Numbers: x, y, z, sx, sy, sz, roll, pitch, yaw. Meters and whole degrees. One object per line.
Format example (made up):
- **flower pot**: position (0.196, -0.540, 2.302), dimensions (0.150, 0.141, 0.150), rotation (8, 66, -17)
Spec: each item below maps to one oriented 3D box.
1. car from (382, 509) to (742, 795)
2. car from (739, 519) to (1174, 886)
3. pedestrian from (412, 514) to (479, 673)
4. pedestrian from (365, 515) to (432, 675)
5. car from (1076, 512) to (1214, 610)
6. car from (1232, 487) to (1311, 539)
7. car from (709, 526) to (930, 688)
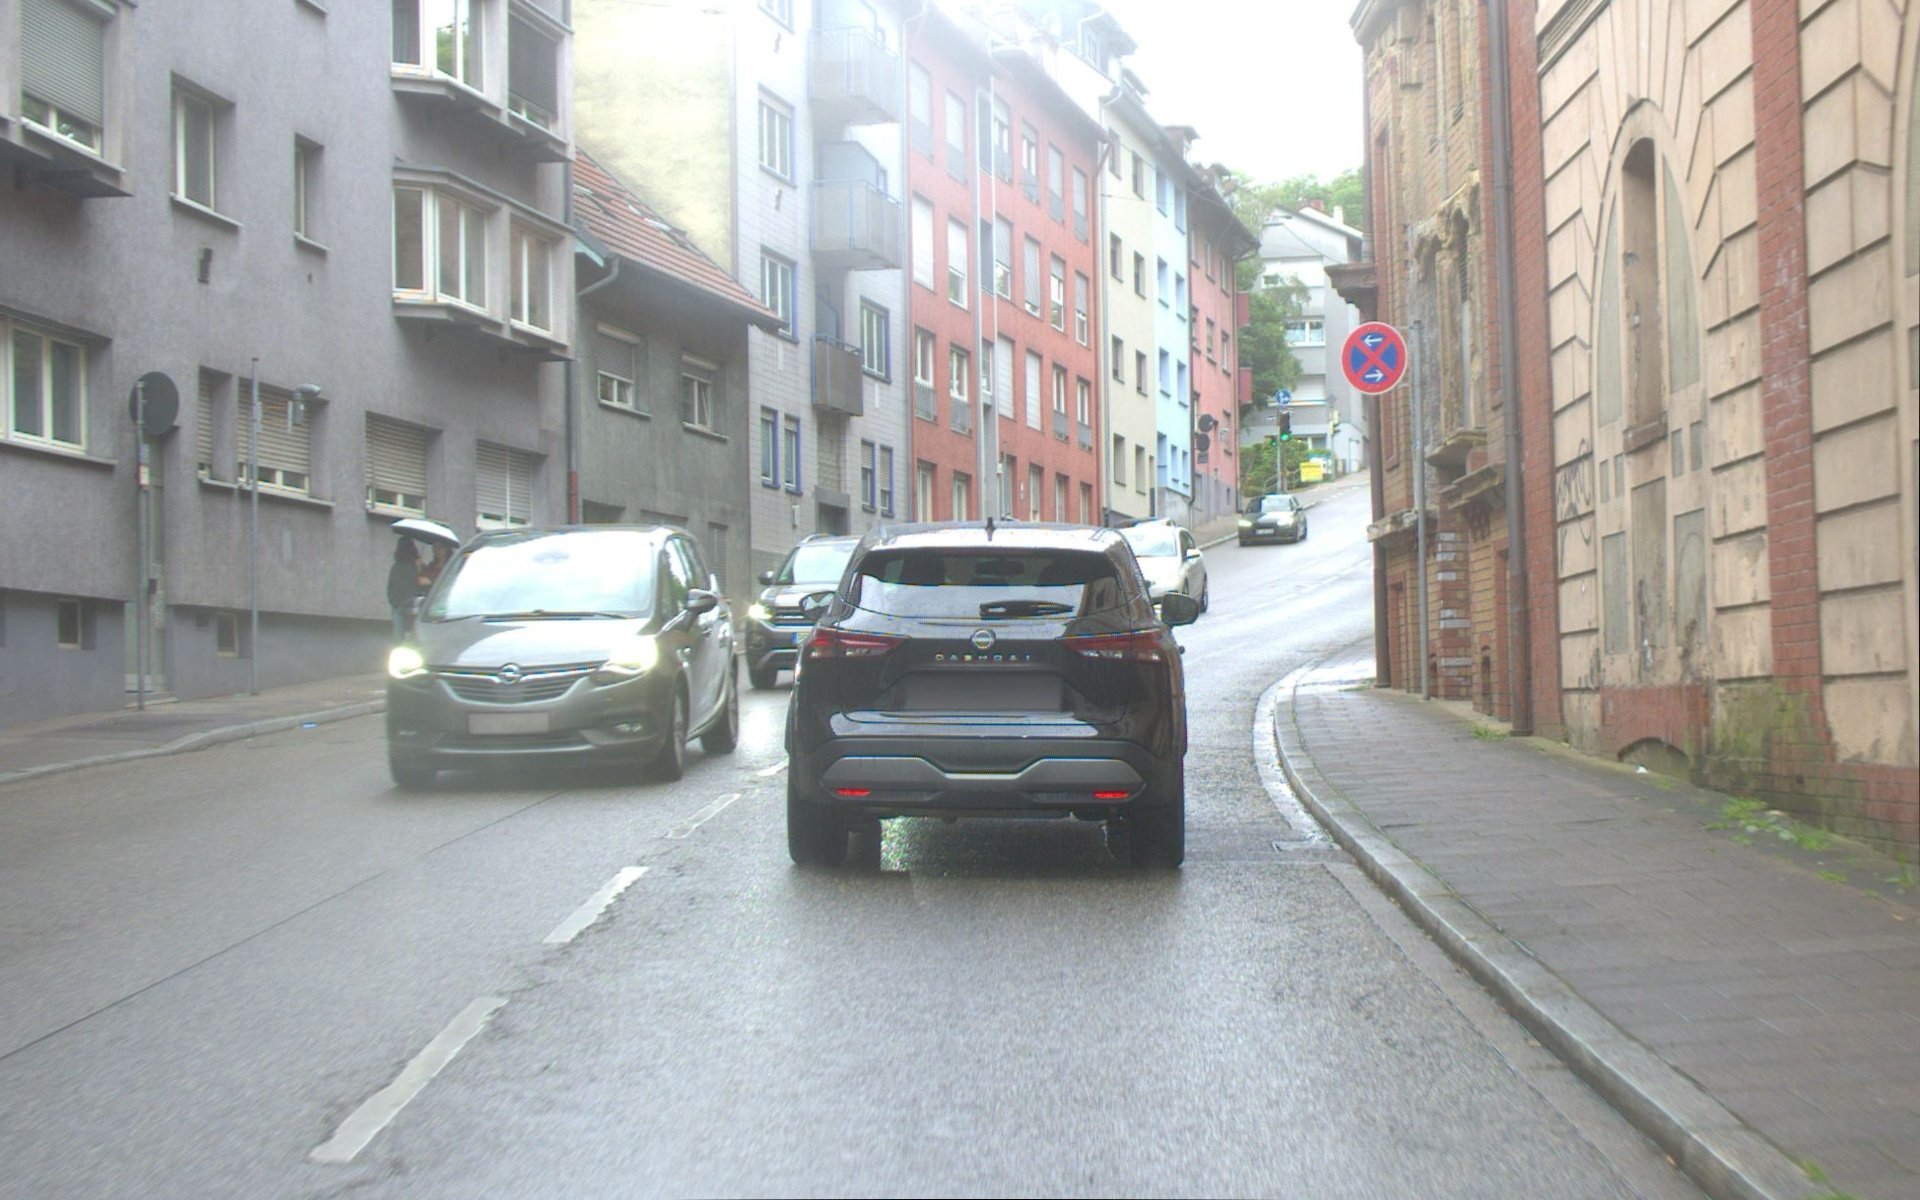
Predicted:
- **car**: position (-2.505, 0.279, 22.542), dimensions (1.764, 1.652, 3.987), rotation (-2, 1, 1)
- **car**: position (-0.005, 0.406, 16.841), dimensions (1.881, 1.588, 3.921), rotation (0, 1, 0)
- **pedestrian**: position (-5.826, -0.080, 38.943), dimensions (0.523, 1.770, 0.622), rotation (-2, 2, 6)
- **pedestrian**: position (-6.359, -0.064, 38.964), dimensions (0.523, 1.770, 0.622), rotation (-2, 2, 6)
- **car**: position (3.256, -0.700, 59.806), dimensions (1.765, 1.571, 4.034), rotation (-2, 1, 12)
- **car**: position (9.120, -2.547, 100.340), dimensions (1.645, 1.373, 3.849), rotation (-3, 2, 14)
- **car**: position (-1.436, 0.035, 36.557), dimensions (1.764, 1.571, 3.764), rotation (-2, 1, 6)
